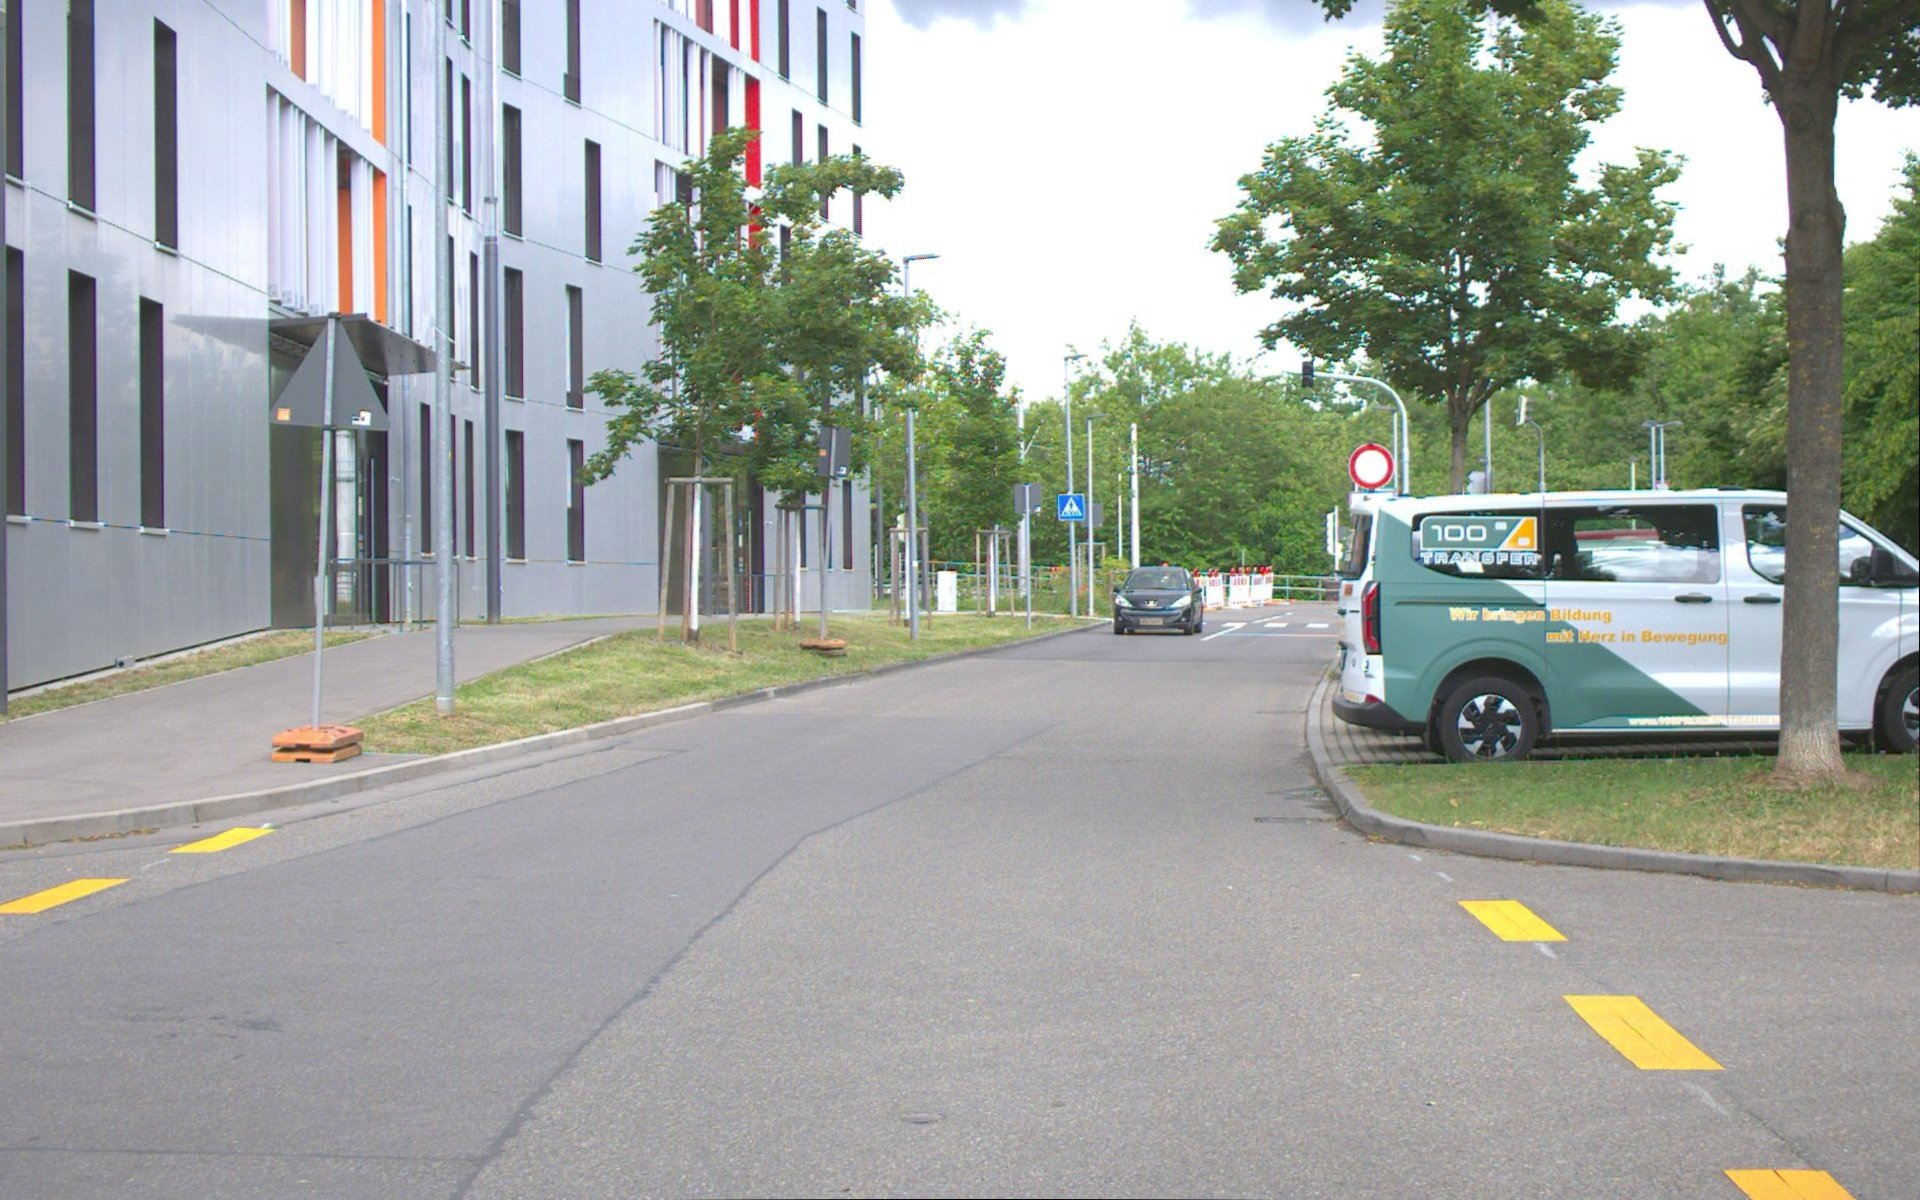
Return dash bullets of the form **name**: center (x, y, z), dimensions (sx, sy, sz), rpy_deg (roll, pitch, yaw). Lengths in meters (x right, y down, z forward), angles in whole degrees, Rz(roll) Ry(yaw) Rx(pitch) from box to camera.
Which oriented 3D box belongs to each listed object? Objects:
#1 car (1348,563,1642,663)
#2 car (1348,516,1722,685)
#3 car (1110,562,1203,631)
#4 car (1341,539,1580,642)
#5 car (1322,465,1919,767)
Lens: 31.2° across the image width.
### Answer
- **car**: center (8.231, 0.186, 53.201), dimensions (4.379, 1.470, 1.916), rpy_deg (1, 1, 5)
- **car**: center (7.071, 0.001, 42.634), dimensions (4.379, 1.897, 1.916), rpy_deg (-2, 1, 5)
- **car**: center (4.154, -0.101, 72.196), dimensions (1.609, 1.383, 3.999), rpy_deg (1, 1, 8)
- **car**: center (9.486, -0.188, 65.452), dimensions (4.379, 1.897, 1.916), rpy_deg (1, 1, 5)
- **car**: center (5.210, 0.088, 24.823), dimensions (4.972, 1.965, 1.847), rpy_deg (-2, 1, 2)
